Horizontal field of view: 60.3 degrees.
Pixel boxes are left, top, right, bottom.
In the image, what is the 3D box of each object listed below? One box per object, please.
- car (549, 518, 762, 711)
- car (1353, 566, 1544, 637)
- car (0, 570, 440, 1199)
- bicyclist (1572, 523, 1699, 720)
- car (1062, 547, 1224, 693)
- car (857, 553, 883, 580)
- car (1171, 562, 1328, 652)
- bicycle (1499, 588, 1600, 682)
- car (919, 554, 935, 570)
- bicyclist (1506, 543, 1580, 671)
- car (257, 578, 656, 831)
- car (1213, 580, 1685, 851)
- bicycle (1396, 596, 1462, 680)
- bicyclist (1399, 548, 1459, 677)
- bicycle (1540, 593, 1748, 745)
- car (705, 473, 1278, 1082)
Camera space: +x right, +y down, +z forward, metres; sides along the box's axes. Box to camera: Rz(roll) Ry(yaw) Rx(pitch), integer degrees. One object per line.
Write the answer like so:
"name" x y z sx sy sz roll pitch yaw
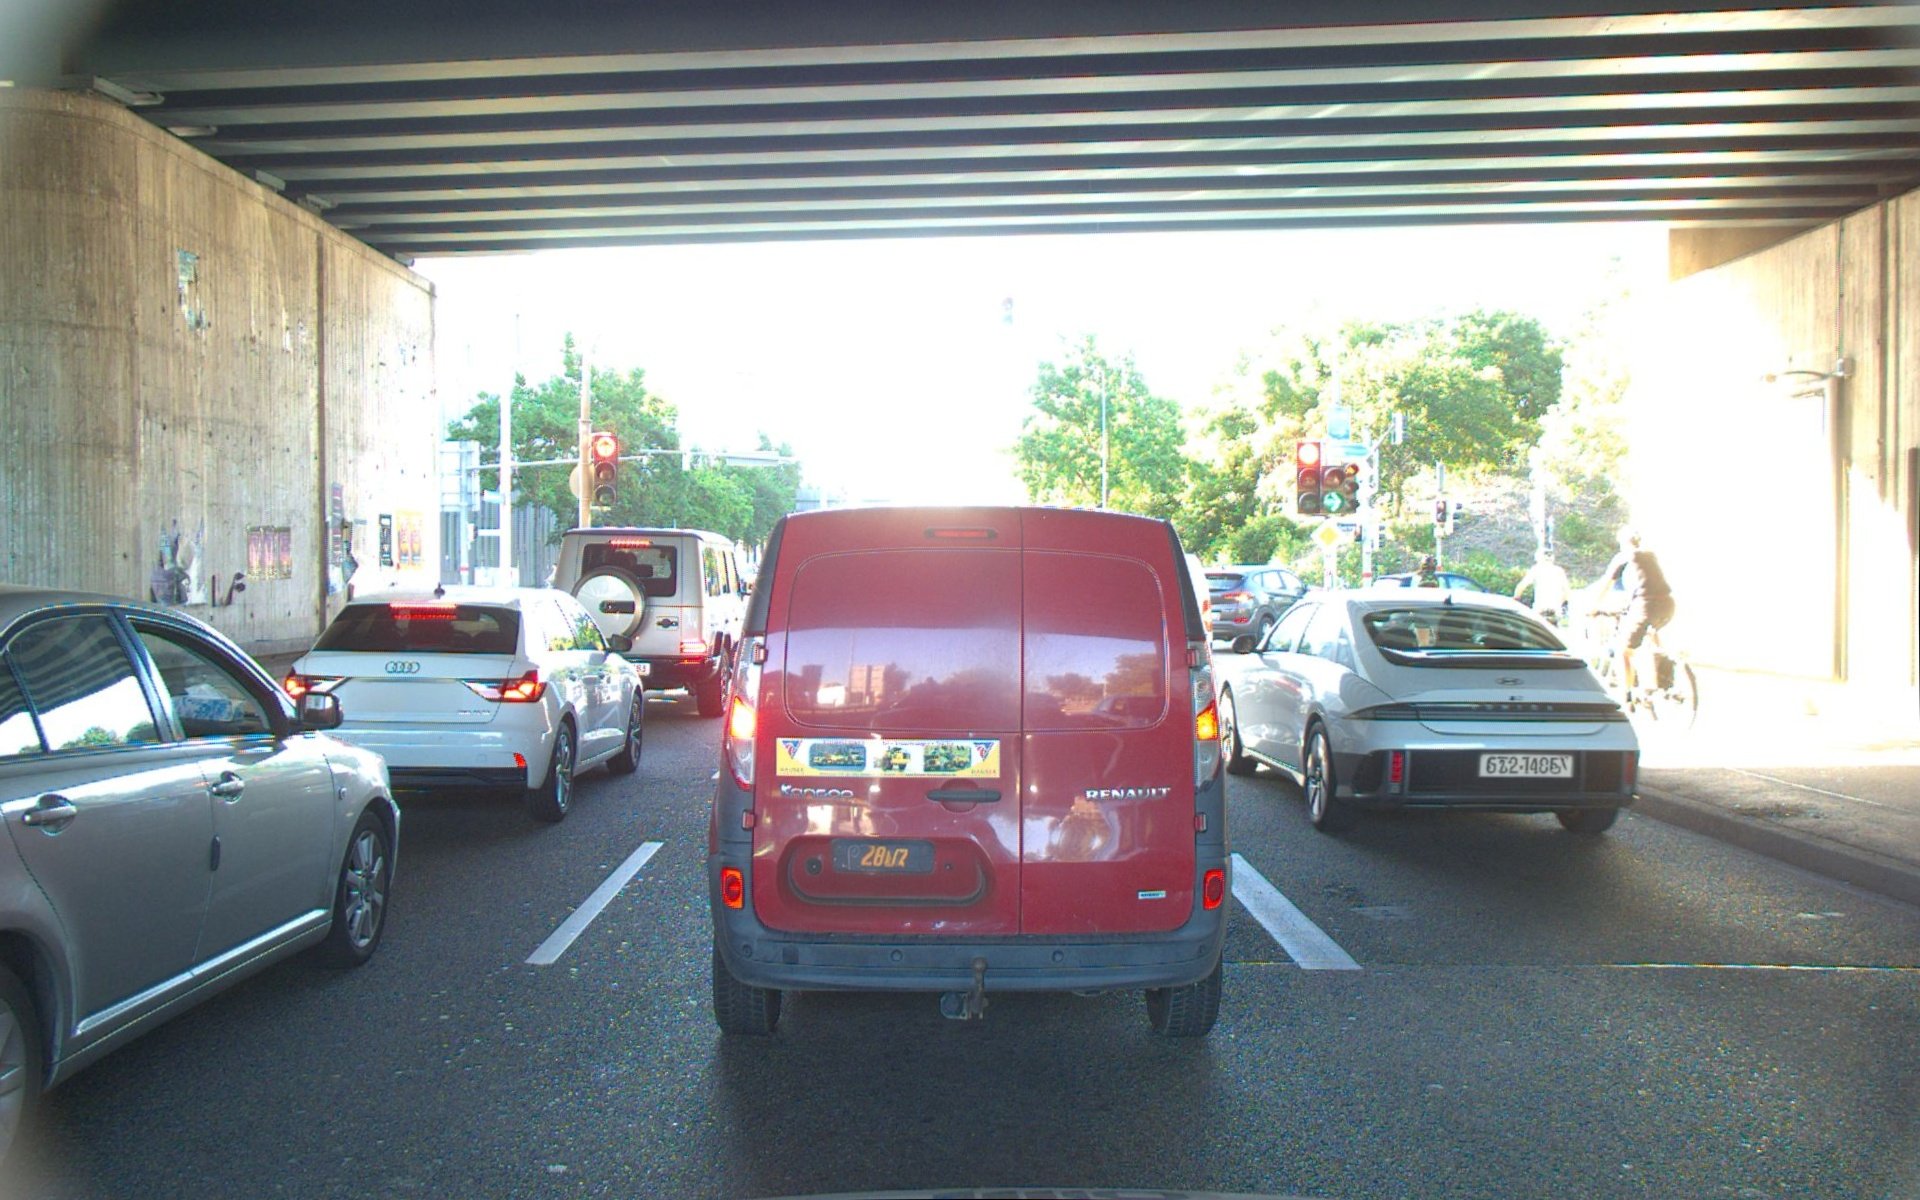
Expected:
"car" -3.331 0.135 18.755 1.777 1.937 3.812 1 0 -2
"car" 11.052 0.036 37.440 3.817 1.489 1.833 1 0 -20
"car" -3.023 0.651 4.889 1.662 1.480 4.397 1 0 -2
"bicyclist" 6.003 0.190 14.739 0.731 1.684 0.886 1 0 -2
"car" 2.513 0.215 23.673 1.776 1.865 4.300 1 1 -1
"car" -7.381 -2.740 136.585 1.953 2.049 3.999 1 0 -1
"car" 5.868 0.080 33.210 1.772 1.650 4.099 1 2 31
"bicycle" 7.360 0.424 20.713 0.667 1.132 1.603 0 0 -1
"car" -4.396 -5.062 220.611 1.953 2.049 3.999 1 0 -1
"bicyclist" 7.354 0.084 20.884 0.656 1.589 0.735 0 0 -1
"car" -3.244 0.589 11.423 1.658 1.435 3.812 1 0 -2
"car" 3.078 0.628 11.506 1.711 1.481 4.662 1 0 -3
"bicycle" 6.172 0.486 21.806 0.662 1.042 1.530 1 0 10
"bicyclist" 6.176 0.161 21.792 0.663 1.657 0.644 1 0 10
"bicycle" 6.021 0.556 14.743 0.750 1.166 2.469 -2 1 -2
"car" 0.068 0.520 6.931 1.684 1.795 3.999 1 0 -1
